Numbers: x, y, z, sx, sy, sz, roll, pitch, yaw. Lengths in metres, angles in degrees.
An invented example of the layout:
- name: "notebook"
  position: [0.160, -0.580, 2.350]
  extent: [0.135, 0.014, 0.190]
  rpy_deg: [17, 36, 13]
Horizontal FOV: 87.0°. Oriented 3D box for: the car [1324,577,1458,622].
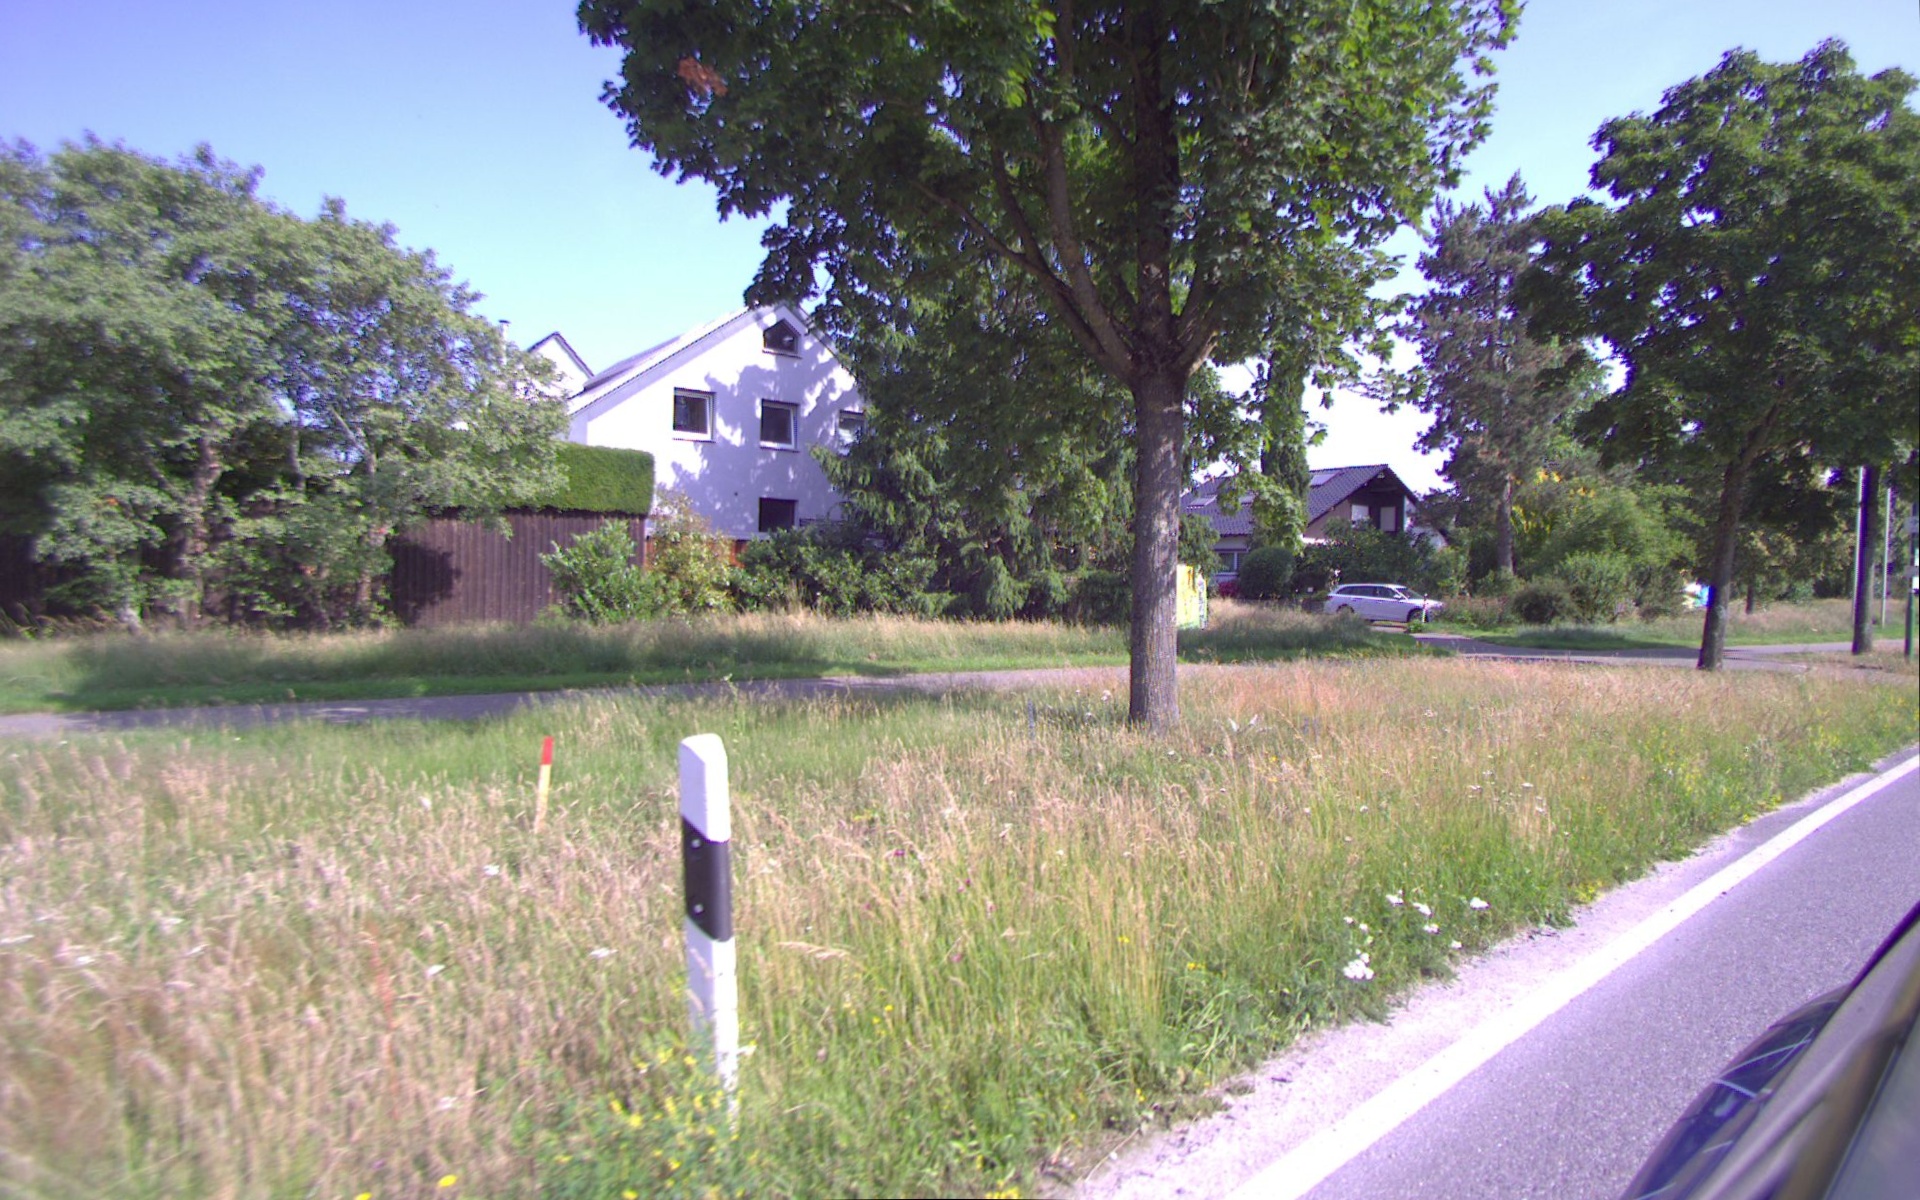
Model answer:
- name: "car"
  position: [15.218, -0.072, 35.866]
  extent: [1.783, 1.452, 3.994]
  rpy_deg: [-1, 2, -41]
